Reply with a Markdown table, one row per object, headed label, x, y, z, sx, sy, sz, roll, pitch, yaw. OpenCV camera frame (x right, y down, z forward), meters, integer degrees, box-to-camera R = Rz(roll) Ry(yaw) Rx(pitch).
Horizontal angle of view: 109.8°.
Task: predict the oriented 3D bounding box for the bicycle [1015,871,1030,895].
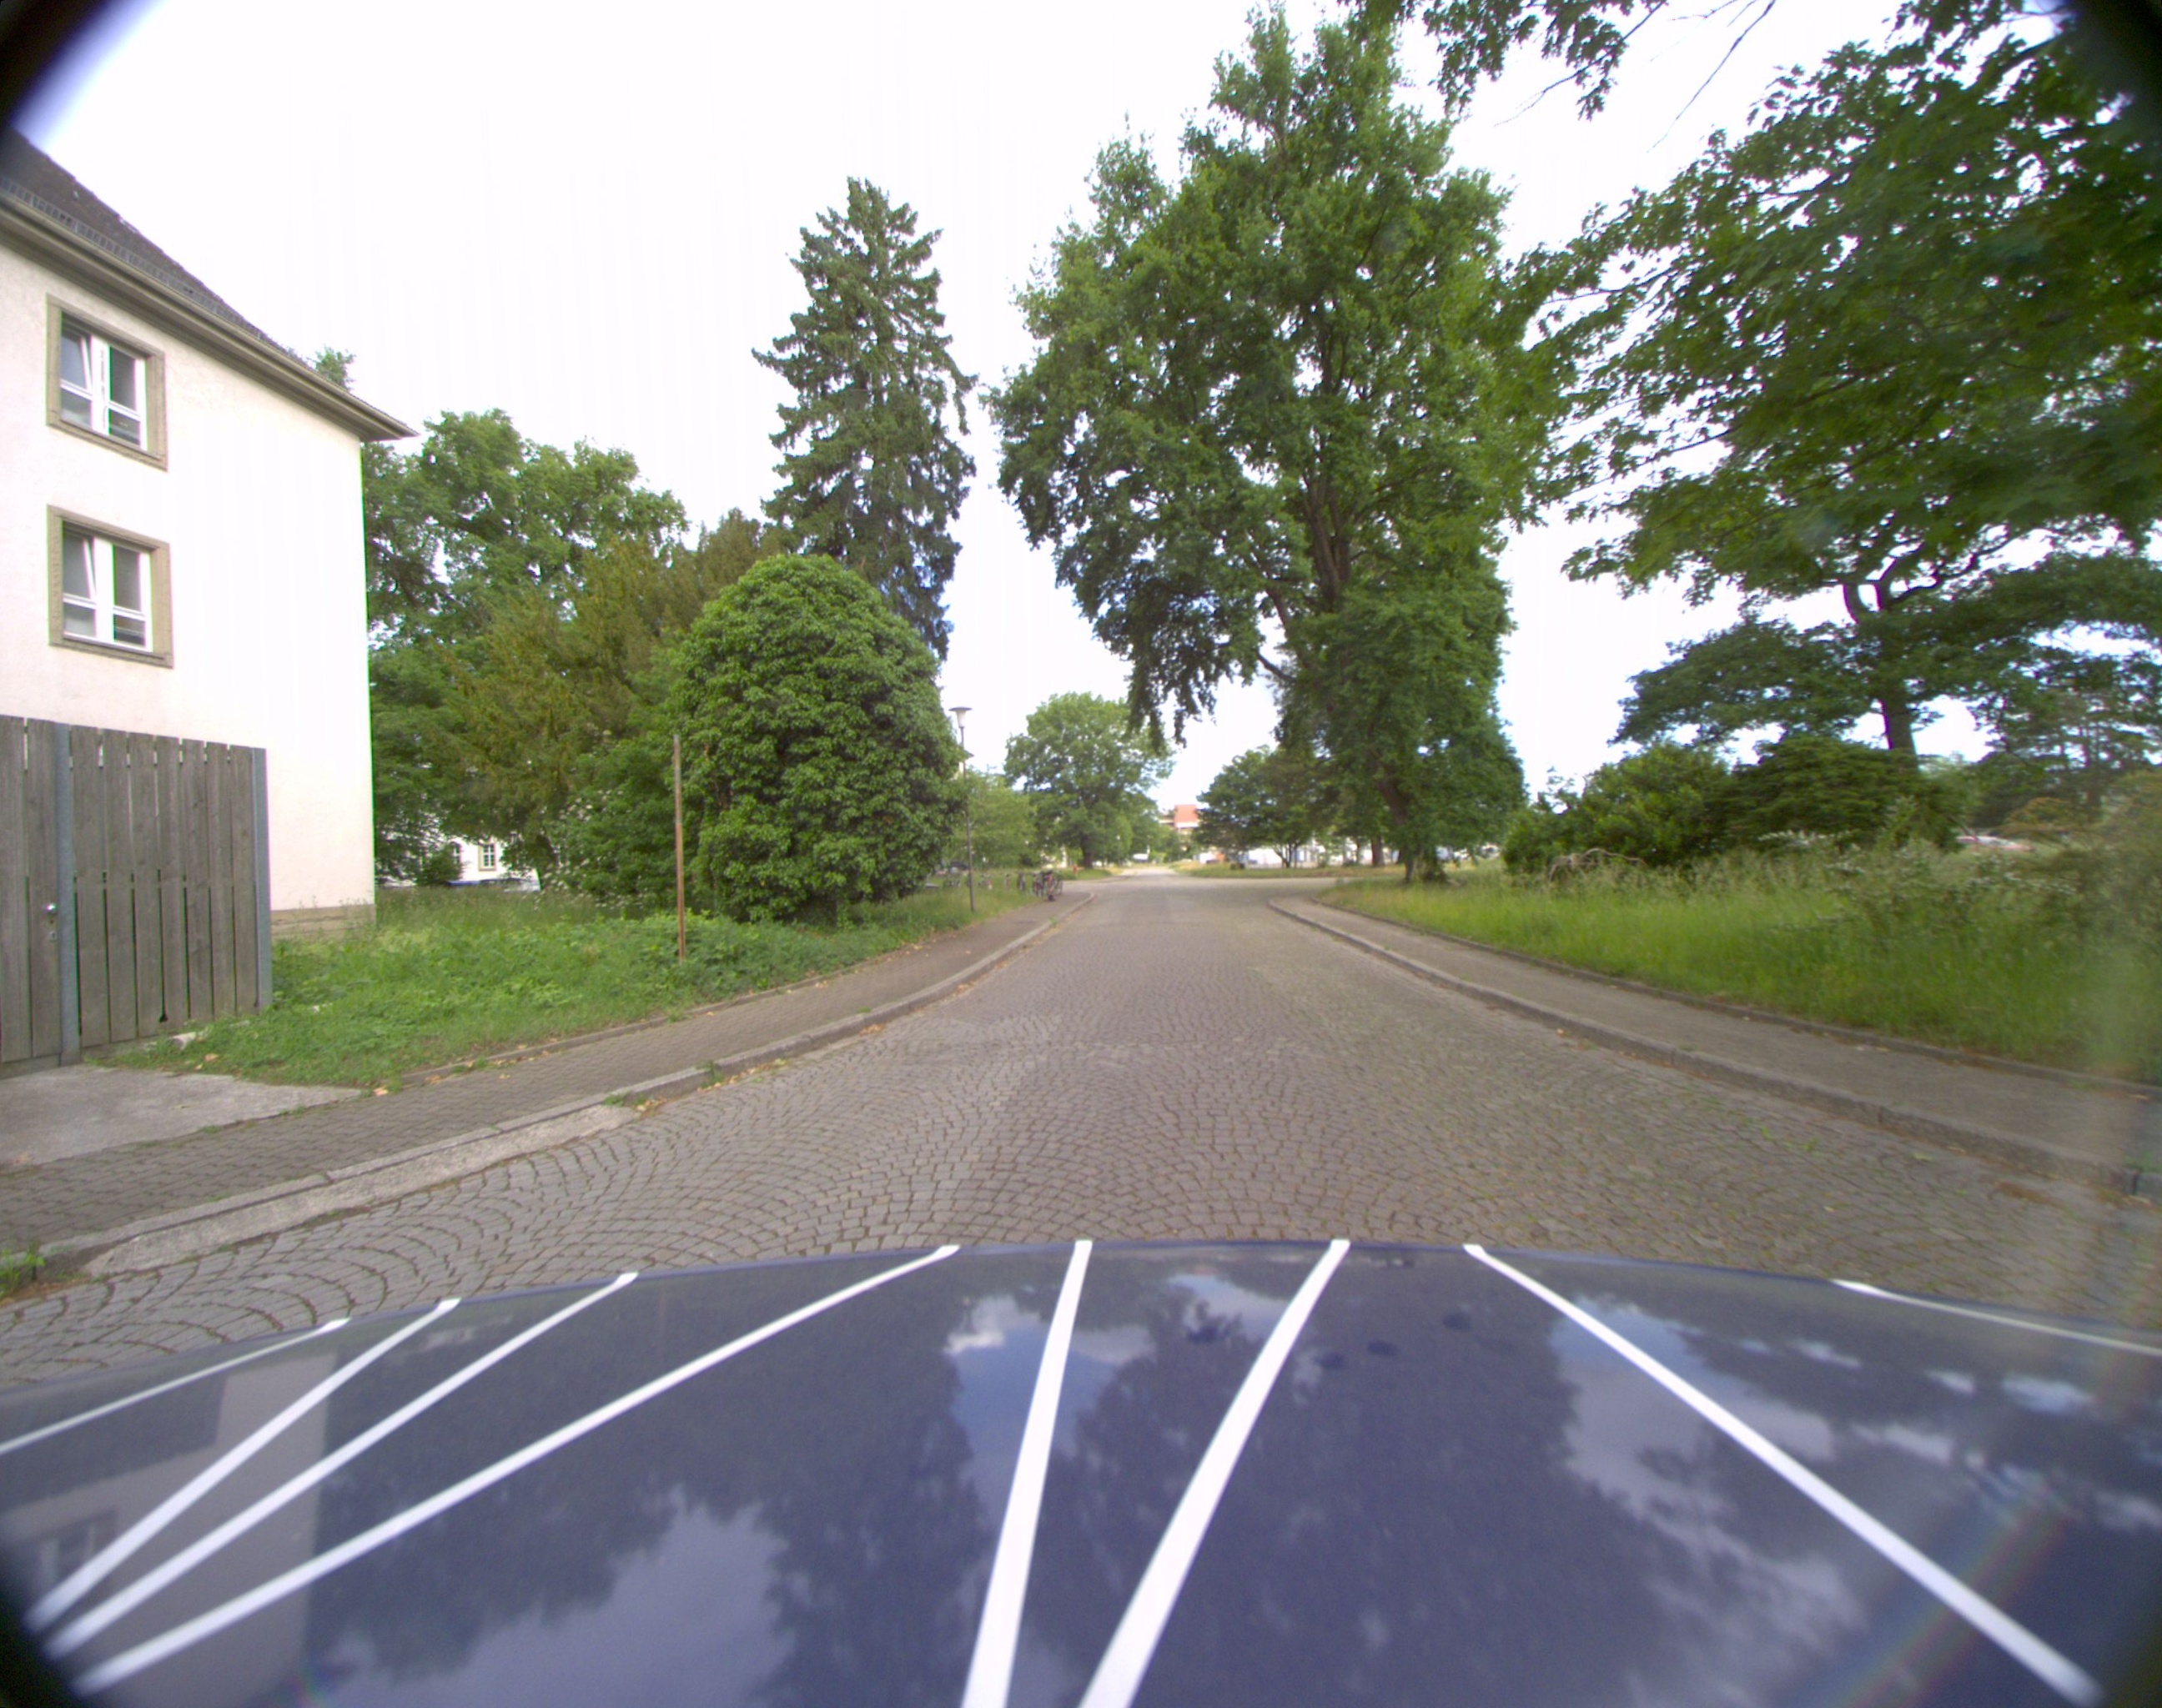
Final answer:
| label | x | y | z | sx | sy | sz | roll | pitch | yaw |
| --- | --- | --- | --- | --- | --- | --- | --- | --- | --- |
| bicycle | -2.672 | 1.295 | 34.661 | 0.478 | 1.002 | 1.665 | -2 | 1 | -11 |

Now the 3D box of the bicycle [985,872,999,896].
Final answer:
| label | x | y | z | sx | sy | sz | roll | pitch | yaw |
| --- | --- | --- | --- | --- | --- | --- | --- | --- | --- |
| bicycle | -4.067 | 1.347 | 34.594 | 0.478 | 1.002 | 1.665 | -2 | 1 | -11 |

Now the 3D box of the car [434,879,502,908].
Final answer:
| label | x | y | z | sx | sy | sz | roll | pitch | yaw |
| --- | --- | --- | --- | --- | --- | --- | --- | --- | --- |
| car | -38.124 | 2.431 | 47.337 | 1.383 | 1.555 | 3.250 | -2 | 0 | 5 |

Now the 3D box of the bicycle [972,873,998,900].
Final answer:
| label | x | y | z | sx | sy | sz | roll | pitch | yaw |
| --- | --- | --- | --- | --- | --- | --- | --- | --- | --- |
| bicycle | -3.911 | 1.298 | 30.819 | 0.619 | 1.059 | 1.823 | -2 | 0 | -20 |

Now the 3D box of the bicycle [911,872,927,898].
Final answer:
| label | x | y | z | sx | sy | sz | roll | pitch | yaw |
| --- | --- | --- | --- | --- | --- | --- | --- | --- | --- |
| bicycle | -7.185 | 1.375 | 33.786 | 0.442 | 1.105 | 1.651 | -2 | 0 | -5 |

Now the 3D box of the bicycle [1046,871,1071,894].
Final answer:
| label | x | y | z | sx | sy | sz | roll | pitch | yaw |
| --- | --- | --- | --- | --- | --- | --- | --- | --- | --- |
| bicycle | -1.050 | 1.302 | 35.010 | 0.478 | 1.002 | 1.619 | -3 | 2 | -25 |

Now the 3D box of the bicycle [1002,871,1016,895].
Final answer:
| label | x | y | z | sx | sy | sz | roll | pitch | yaw |
| --- | --- | --- | --- | --- | --- | --- | --- | --- | --- |
| bicycle | -3.291 | 1.318 | 34.607 | 0.478 | 1.002 | 1.665 | -2 | 1 | -11 |

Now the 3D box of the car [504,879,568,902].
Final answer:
| label | x | y | z | sx | sy | sz | roll | pitch | yaw |
| --- | --- | --- | --- | --- | --- | --- | --- | --- | --- |
| car | -32.744 | 2.176 | 45.720 | 1.295 | 1.210 | 3.250 | -2 | 0 | 5 |

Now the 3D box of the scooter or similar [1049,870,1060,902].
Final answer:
| label | x | y | z | sx | sy | sz | roll | pitch | yaw |
| --- | --- | --- | --- | --- | --- | --- | --- | --- | --- |
| scooter or similar | -1.040 | 1.233 | 29.916 | 0.357 | 1.202 | 1.137 | -2 | 0 | 1 |

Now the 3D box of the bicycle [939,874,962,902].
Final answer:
| label | x | y | z | sx | sy | sz | roll | pitch | yaw |
| --- | --- | --- | --- | --- | --- | --- | --- | --- | --- |
| bicycle | -5.245 | 1.342 | 30.455 | 0.552 | 1.059 | 1.751 | -2 | 0 | -20 |

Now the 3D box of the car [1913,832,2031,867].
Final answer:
| label | x | y | z | sx | sy | sz | roll | pitch | yaw |
| --- | --- | --- | --- | --- | --- | --- | --- | --- | --- |
| car | 42.581 | -0.182 | 36.421 | 1.600 | 1.473 | 3.502 | -2 | -2 | 4 |

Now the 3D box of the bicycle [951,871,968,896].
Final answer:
| label | x | y | z | sx | sy | sz | roll | pitch | yaw |
| --- | --- | --- | --- | --- | --- | --- | --- | --- | --- |
| bicycle | -5.495 | 1.312 | 34.292 | 0.478 | 1.105 | 1.763 | -2 | 0 | -16 |

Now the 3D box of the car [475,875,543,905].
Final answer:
| label | x | y | z | sx | sy | sz | roll | pitch | yaw |
| --- | --- | --- | --- | --- | --- | --- | --- | --- | --- |
| car | -34.949 | 2.202 | 46.518 | 1.438 | 1.651 | 3.250 | -2 | 0 | 5 |

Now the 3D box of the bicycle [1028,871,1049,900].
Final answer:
| label | x | y | z | sx | sy | sz | roll | pitch | yaw |
| --- | --- | --- | --- | --- | --- | --- | --- | --- | --- |
| bicycle | -1.758 | 1.272 | 31.221 | 0.551 | 1.108 | 1.768 | -2 | 0 | -12 |

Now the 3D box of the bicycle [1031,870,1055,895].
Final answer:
| label | x | y | z | sx | sy | sz | roll | pitch | yaw |
| --- | --- | --- | --- | --- | --- | --- | --- | --- | --- |
| bicycle | -1.753 | 1.307 | 35.102 | 0.478 | 1.068 | 1.619 | -3 | 2 | -25 |

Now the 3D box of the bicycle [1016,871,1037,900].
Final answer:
| label | x | y | z | sx | sy | sz | roll | pitch | yaw |
| --- | --- | --- | --- | --- | --- | --- | --- | --- | --- |
| bicycle | -2.227 | 1.286 | 31.058 | 0.551 | 1.108 | 1.803 | -2 | 0 | -12 |

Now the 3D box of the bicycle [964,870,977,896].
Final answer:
| label | x | y | z | sx | sy | sz | roll | pitch | yaw |
| --- | --- | --- | --- | --- | --- | --- | --- | --- | --- |
| bicycle | -4.967 | 1.291 | 34.201 | 0.478 | 1.105 | 1.764 | -2 | 0 | -11 |
